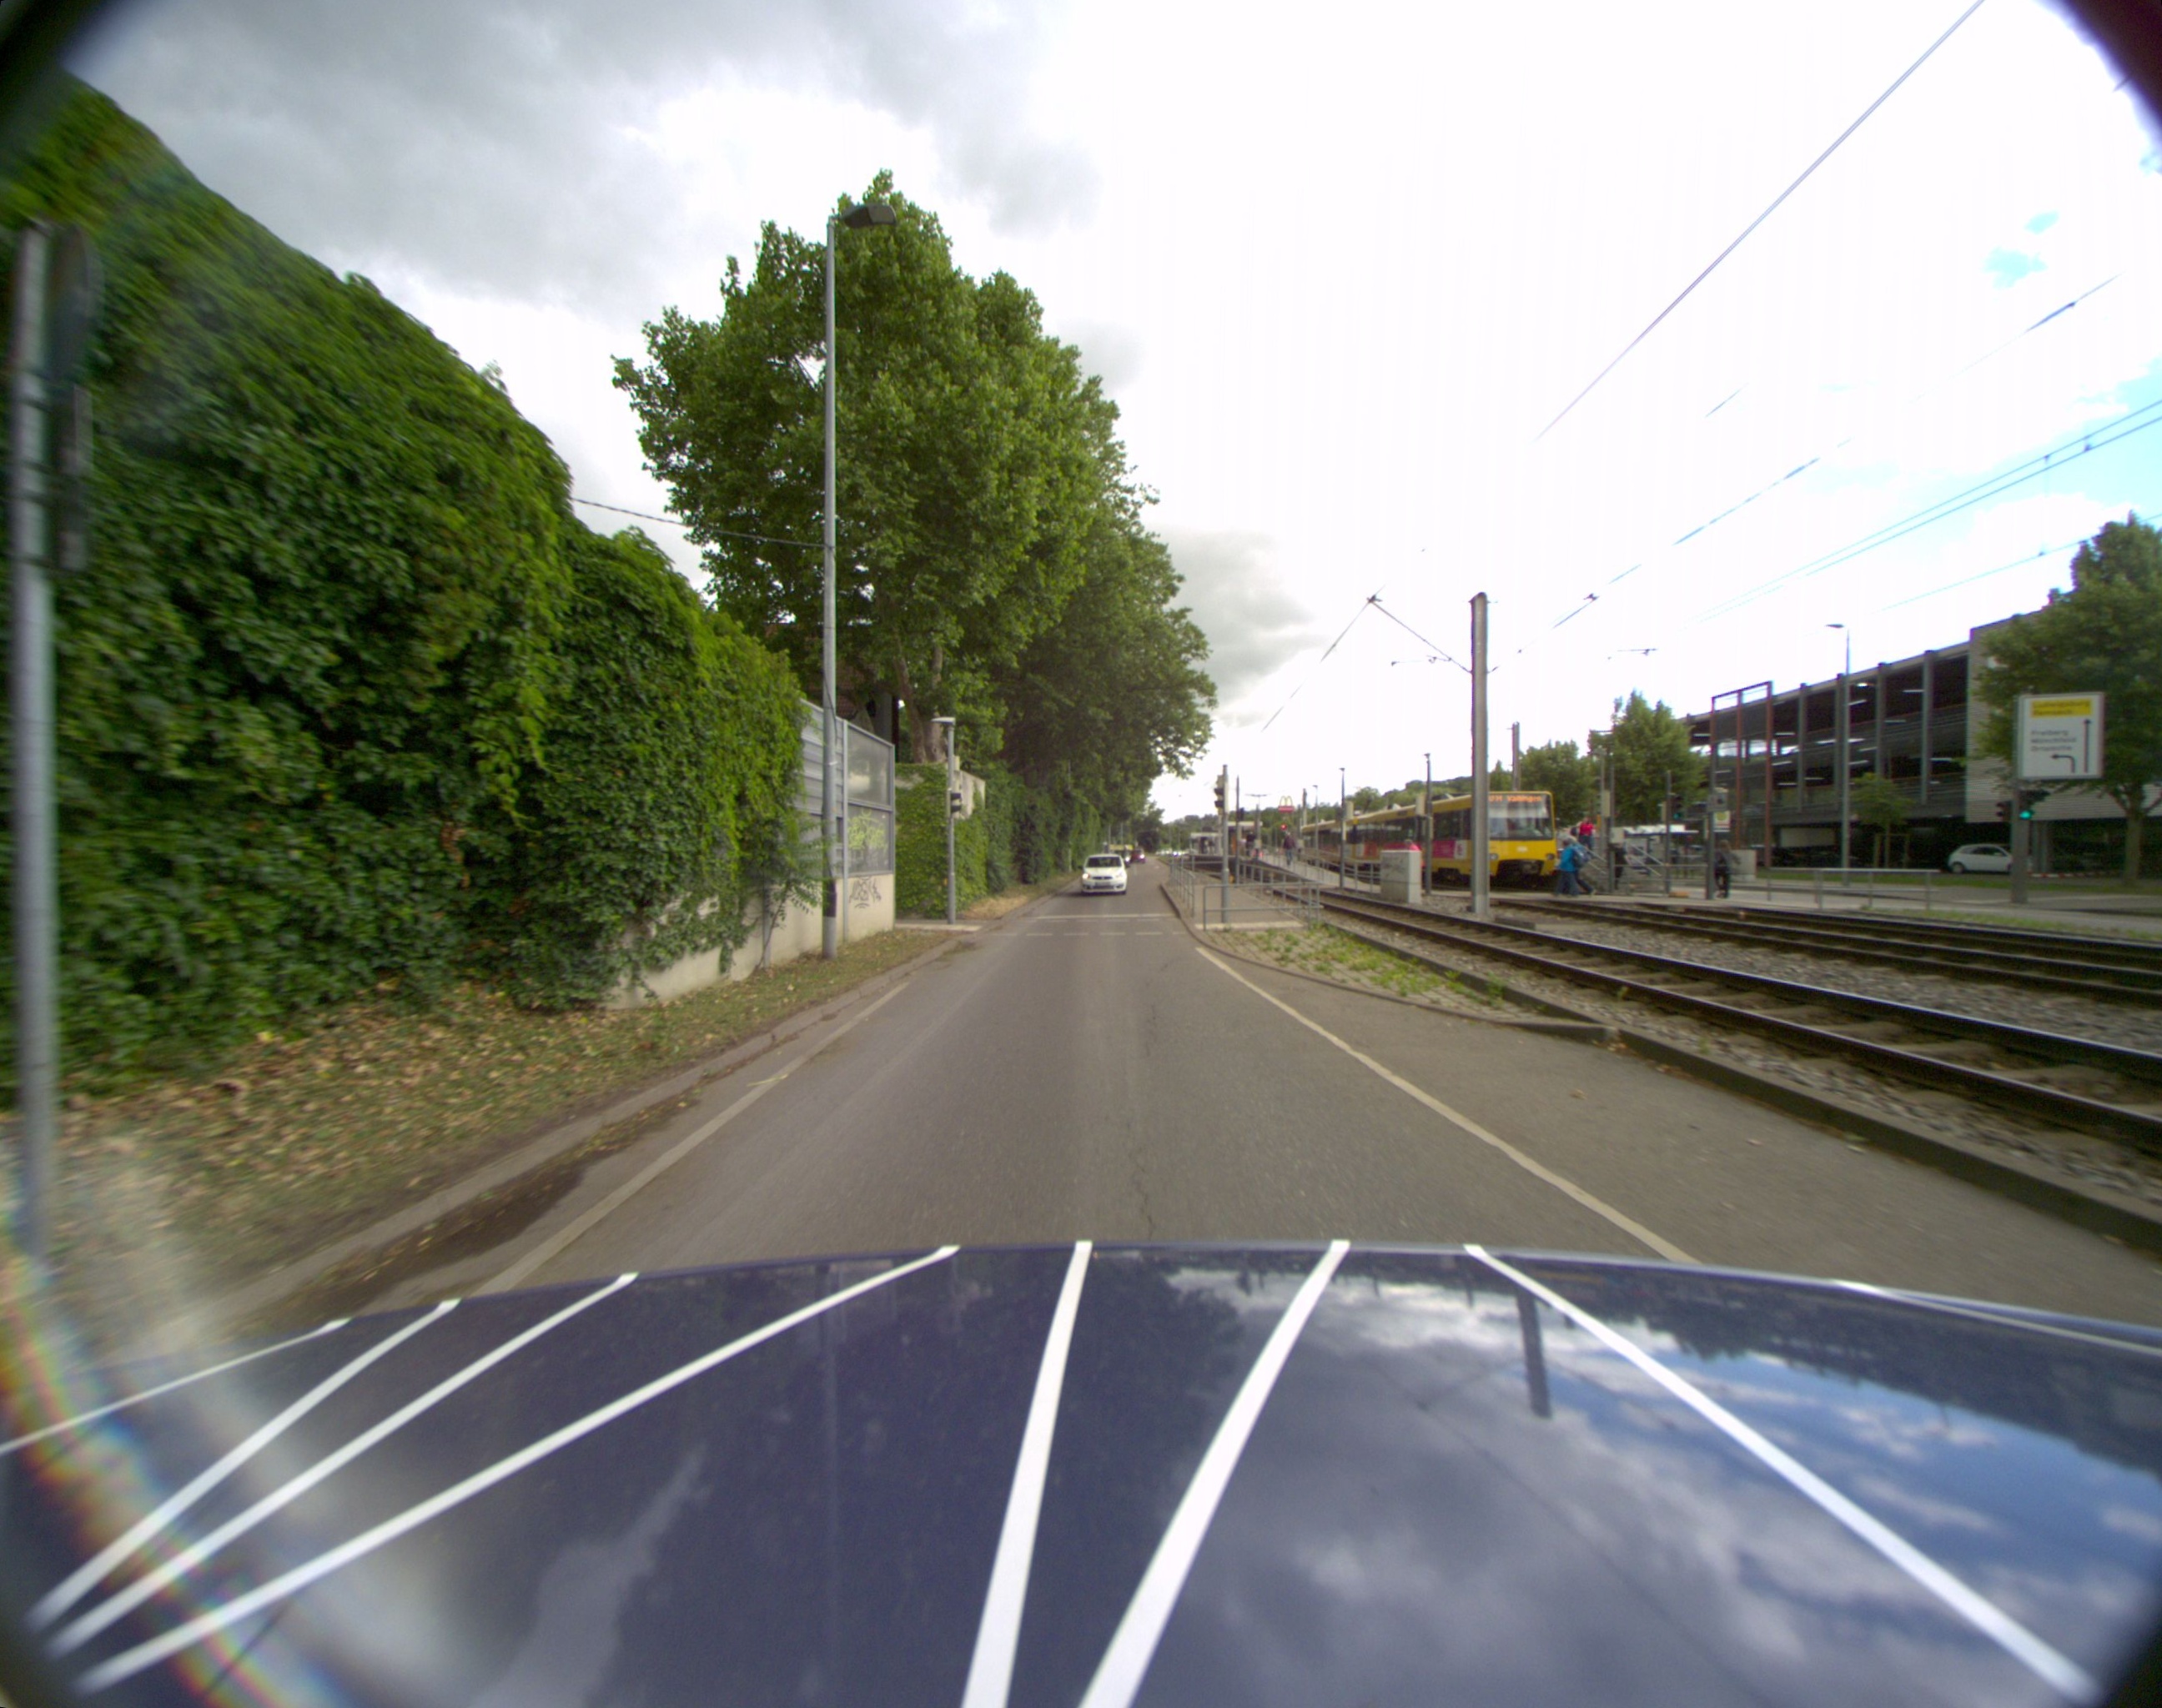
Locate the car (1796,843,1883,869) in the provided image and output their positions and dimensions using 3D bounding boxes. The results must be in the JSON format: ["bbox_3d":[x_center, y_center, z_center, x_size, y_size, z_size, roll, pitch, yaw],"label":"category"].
[{"bbox_3d":[46.586,0.075,46.798,1.727,1.506,3.796,1,1,5],"label":"car"}]

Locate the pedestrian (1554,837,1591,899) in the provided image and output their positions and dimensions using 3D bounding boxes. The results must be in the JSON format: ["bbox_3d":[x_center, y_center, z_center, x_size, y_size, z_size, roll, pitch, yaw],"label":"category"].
[{"bbox_3d":[13.213,0.363,20.420,0.712,1.602,0.943,2,2,37],"label":"pedestrian"}]

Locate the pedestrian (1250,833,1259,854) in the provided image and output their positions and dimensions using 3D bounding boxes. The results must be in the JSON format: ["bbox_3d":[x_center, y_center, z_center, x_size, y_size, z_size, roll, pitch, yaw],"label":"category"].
[{"bbox_3d":[11.828,-0.702,51.809,0.480,1.397,0.411,1,1,3],"label":"pedestrian"}]

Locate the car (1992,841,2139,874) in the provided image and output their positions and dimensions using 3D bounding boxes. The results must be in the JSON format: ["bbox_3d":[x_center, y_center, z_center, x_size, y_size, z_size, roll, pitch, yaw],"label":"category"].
[{"bbox_3d":[45.494,0.140,35.276,1.782,1.395,4.001,1,1,6],"label":"car"}]

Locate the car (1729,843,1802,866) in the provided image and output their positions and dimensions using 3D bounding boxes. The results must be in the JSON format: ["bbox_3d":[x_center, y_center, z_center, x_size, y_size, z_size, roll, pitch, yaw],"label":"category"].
[{"bbox_3d":[46.886,0.012,52.173,1.727,1.506,3.796,1,1,5],"label":"car"}]

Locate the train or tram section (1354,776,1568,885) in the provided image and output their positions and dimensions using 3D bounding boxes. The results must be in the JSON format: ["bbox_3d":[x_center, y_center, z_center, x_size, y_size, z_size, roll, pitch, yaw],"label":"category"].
[{"bbox_3d":[16.626,-0.903,35.910,2.762,3.806,18.638,-1,0,6],"label":"train or tram section"}]

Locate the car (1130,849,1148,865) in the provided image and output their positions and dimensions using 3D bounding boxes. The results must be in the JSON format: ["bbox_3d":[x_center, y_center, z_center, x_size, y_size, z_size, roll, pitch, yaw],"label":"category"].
[{"bbox_3d":[6.428,0.299,84.069,1.895,1.607,4.510,-1,0,6],"label":"car"}]

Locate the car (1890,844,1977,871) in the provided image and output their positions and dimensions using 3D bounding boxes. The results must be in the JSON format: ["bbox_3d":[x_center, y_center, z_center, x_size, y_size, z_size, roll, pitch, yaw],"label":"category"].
[{"bbox_3d":[51.722,0.178,46.184,1.562,1.502,3.393,1,1,3],"label":"car"}]

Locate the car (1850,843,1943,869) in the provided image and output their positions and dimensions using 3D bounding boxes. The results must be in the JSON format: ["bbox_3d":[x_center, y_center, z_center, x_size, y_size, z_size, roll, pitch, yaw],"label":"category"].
[{"bbox_3d":[49.367,0.107,46.116,1.727,1.506,3.796,1,1,5],"label":"car"}]

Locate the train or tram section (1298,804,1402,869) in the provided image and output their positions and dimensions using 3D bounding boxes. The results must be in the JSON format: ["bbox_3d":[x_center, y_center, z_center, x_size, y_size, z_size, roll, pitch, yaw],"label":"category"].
[{"bbox_3d":[18.647,-1.114,54.458,2.762,3.860,18.638,-1,0,6],"label":"train or tram section"}]

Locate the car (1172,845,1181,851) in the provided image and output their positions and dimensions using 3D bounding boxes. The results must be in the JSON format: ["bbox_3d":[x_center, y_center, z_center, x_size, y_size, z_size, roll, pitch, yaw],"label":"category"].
[{"bbox_3d":[25.201,-1.660,200.522,1.996,1.527,4.004,2,1,14],"label":"car"}]

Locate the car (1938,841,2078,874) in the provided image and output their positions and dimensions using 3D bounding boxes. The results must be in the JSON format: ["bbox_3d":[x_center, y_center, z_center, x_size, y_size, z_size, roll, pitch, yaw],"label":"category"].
[{"bbox_3d":[43.103,0.124,35.483,1.782,1.390,4.001,1,1,6],"label":"car"}]

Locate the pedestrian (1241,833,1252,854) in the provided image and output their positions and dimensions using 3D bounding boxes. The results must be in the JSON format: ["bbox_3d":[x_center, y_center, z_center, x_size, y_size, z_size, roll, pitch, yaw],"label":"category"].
[{"bbox_3d":[11.622,-0.762,53.424,0.519,1.474,0.583,2,2,43],"label":"pedestrian"}]

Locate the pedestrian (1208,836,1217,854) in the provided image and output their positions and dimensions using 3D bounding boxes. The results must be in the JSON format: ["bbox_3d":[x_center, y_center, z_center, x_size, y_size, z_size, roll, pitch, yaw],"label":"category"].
[{"bbox_3d":[13.381,-0.900,77.109,0.750,1.734,0.937,1,1,5],"label":"pedestrian"}]

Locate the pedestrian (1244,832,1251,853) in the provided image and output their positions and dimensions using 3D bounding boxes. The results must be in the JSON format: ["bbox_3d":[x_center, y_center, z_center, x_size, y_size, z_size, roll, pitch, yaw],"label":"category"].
[{"bbox_3d":[11.510,-0.817,52.620,0.361,1.456,0.639,0,1,4],"label":"pedestrian"}]

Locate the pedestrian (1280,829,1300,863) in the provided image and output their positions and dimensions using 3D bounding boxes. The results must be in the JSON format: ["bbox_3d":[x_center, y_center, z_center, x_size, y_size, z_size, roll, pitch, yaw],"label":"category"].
[{"bbox_3d":[10.574,-0.389,38.421,0.773,1.668,0.791,1,1,4],"label":"pedestrian"}]

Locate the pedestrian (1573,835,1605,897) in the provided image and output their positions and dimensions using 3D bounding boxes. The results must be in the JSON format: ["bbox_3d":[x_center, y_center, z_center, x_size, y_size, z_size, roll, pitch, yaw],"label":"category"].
[{"bbox_3d":[14.100,0.328,21.096,0.655,1.688,0.730,2,2,37],"label":"pedestrian"}]

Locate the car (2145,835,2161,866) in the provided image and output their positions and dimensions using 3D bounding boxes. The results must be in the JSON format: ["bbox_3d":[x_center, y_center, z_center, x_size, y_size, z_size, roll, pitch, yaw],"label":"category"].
[{"bbox_3d":[53.220,-0.144,35.475,1.758,1.506,3.870,-1,1,5],"label":"car"}]

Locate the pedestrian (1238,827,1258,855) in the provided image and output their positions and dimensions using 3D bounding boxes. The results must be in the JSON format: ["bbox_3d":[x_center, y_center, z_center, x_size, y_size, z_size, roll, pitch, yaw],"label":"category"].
[{"bbox_3d":[10.332,-0.815,47.007,0.878,1.668,0.743,0,2,-42],"label":"pedestrian"}]

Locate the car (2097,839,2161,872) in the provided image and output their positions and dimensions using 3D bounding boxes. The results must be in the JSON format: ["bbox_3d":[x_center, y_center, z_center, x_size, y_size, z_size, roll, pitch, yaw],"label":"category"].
[{"bbox_3d":[50.514,0.095,35.216,1.758,1.506,3.870,1,1,5],"label":"car"}]

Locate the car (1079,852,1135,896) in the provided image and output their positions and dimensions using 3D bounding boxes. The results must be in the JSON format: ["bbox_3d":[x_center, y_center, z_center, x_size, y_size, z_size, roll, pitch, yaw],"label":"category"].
[{"bbox_3d":[0.917,0.693,28.279,1.674,1.439,3.603,-3,1,-4],"label":"car"}]

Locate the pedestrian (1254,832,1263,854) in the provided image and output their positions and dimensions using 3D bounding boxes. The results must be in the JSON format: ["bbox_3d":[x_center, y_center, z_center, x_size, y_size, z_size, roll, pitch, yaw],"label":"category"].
[{"bbox_3d":[12.246,-0.748,52.379,0.475,1.475,0.543,2,1,27],"label":"pedestrian"}]

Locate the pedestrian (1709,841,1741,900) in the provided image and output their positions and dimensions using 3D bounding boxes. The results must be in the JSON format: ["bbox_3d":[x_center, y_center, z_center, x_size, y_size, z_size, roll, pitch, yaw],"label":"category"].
[{"bbox_3d":[18.539,0.461,21.876,0.517,1.652,0.466,2,1,15],"label":"pedestrian"}]

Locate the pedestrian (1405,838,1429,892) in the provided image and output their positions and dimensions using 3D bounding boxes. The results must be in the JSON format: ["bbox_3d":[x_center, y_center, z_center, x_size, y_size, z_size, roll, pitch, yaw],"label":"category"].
[{"bbox_3d":[10.601,0.334,23.963,0.613,1.644,0.797,2,1,26],"label":"pedestrian"}]
